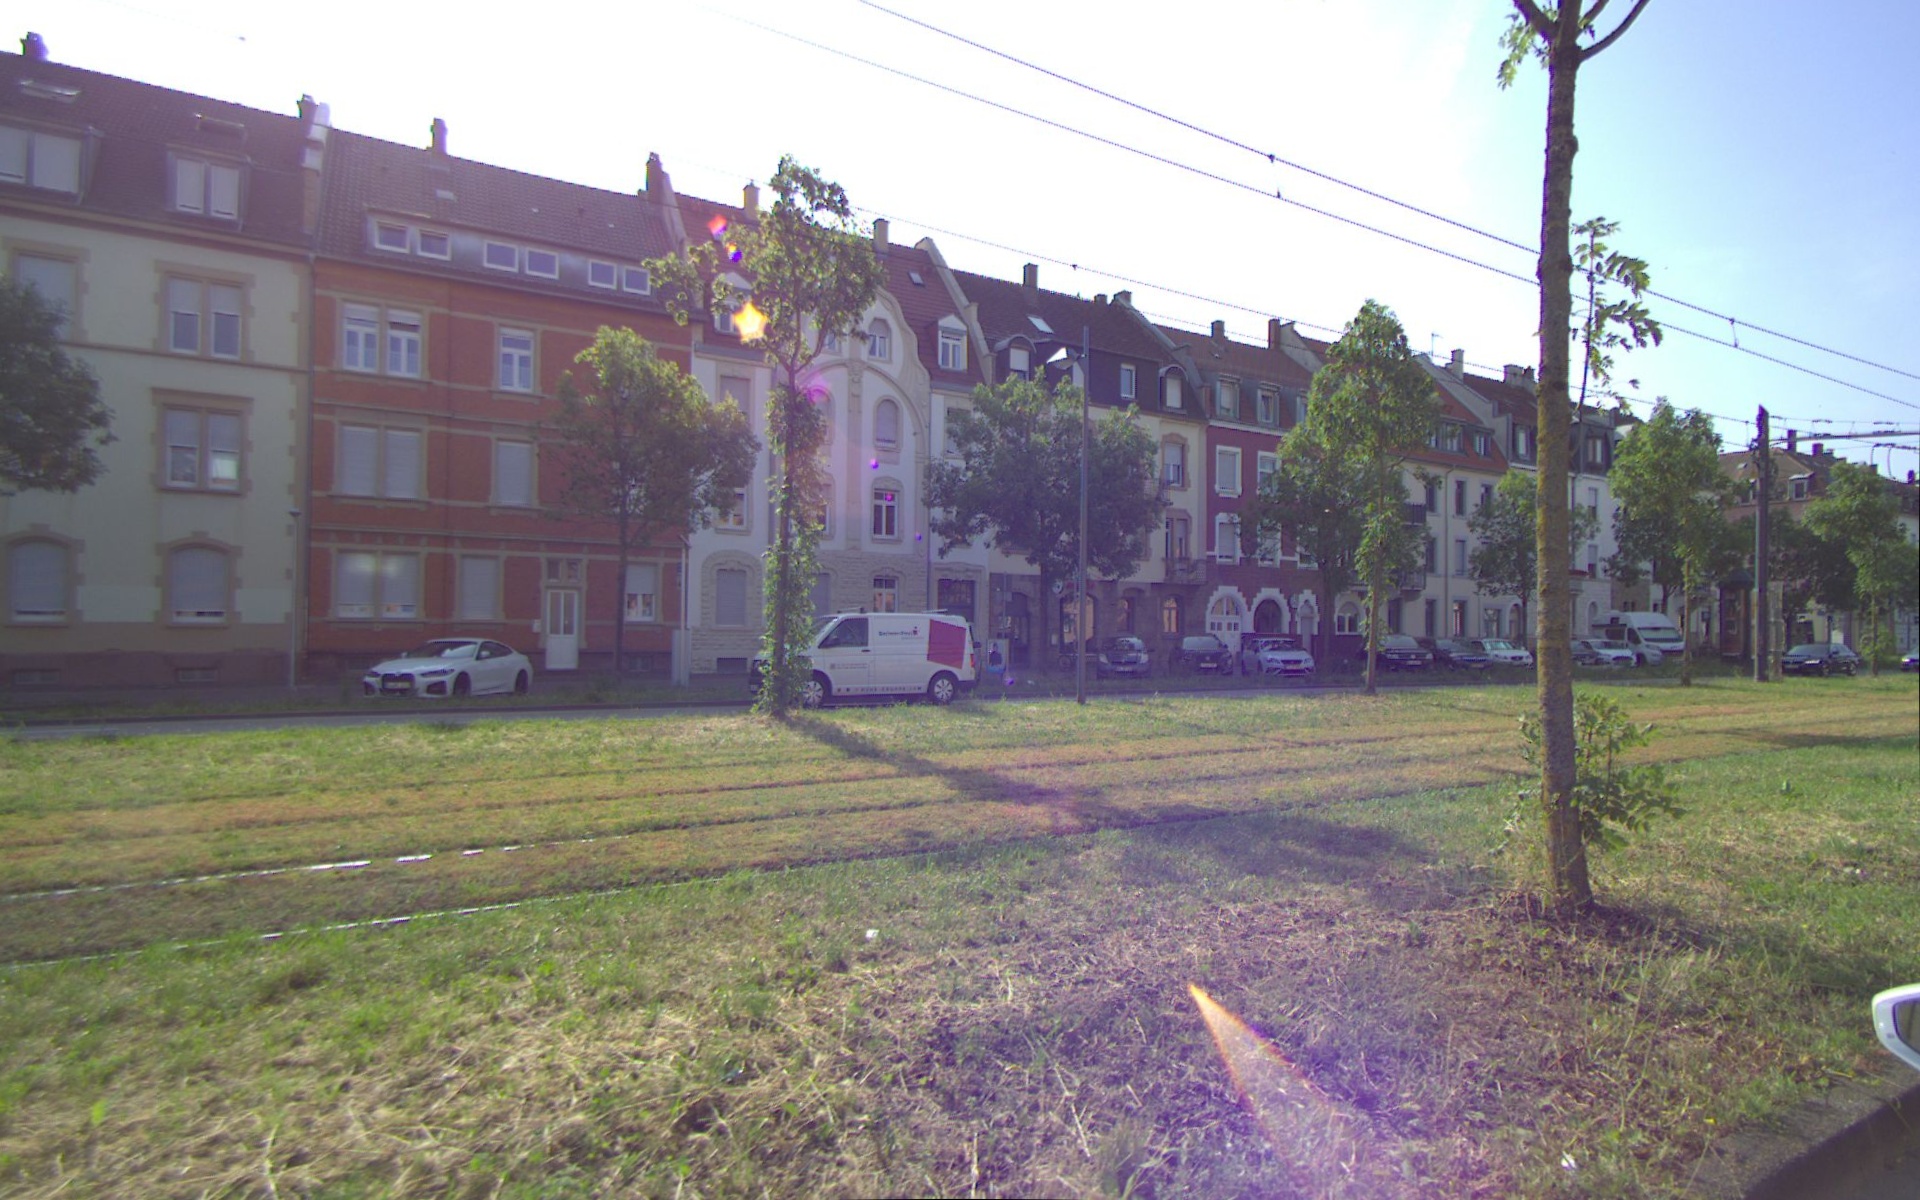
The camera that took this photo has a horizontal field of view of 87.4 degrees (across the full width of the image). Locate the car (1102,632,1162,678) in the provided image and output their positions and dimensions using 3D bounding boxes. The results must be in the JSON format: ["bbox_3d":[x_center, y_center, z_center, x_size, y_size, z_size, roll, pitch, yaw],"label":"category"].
[{"bbox_3d":[5.363,1.700,31.633,1.495,1.258,3.688,0,0,4],"label":"car"}]

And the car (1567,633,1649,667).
[{"bbox_3d":[30.268,2.332,47.050,1.629,1.349,3.688,2,0,5],"label":"car"}]

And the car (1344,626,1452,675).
[{"bbox_3d":[16.768,1.916,38.721,1.799,1.765,4.646,1,-2,-5],"label":"car"}]

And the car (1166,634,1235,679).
[{"bbox_3d":[7.972,1.832,33.520,1.629,1.258,3.688,1,0,4],"label":"car"}]

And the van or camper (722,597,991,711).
[{"bbox_3d":[-2.094,1.143,21.015,5.292,2.124,1.942,2,-3,-31],"label":"van or camper"}]

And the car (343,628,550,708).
[{"bbox_3d":[-11.069,1.469,22.143,1.983,1.504,4.780,2,-3,1],"label":"car"}]

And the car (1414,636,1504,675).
[{"bbox_3d":[19.352,2.120,39.105,1.629,1.258,3.687,2,0,0],"label":"car"}]

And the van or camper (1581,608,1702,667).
[{"bbox_3d":[33.008,1.739,48.895,2.155,2.608,5.928,2,0,5],"label":"van or camper"}]

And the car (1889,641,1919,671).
[{"bbox_3d":[51.765,3.030,53.670,4.596,1.479,1.937,2,0,-31],"label":"car"}]

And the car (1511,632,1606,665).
[{"bbox_3d":[27.102,2.164,45.623,1.633,1.258,3.679,2,0,-11],"label":"car"}]

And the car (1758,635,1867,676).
[{"bbox_3d":[38.254,2.509,45.042,5.315,1.652,1.985,2,0,-29],"label":"car"}]

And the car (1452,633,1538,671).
[{"bbox_3d":[21.931,2.098,41.324,1.629,1.334,4.016,2,0,5],"label":"car"}]

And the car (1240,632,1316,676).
[{"bbox_3d":[10.761,1.789,34.230,1.629,1.258,3.688,2,0,5],"label":"car"}]
